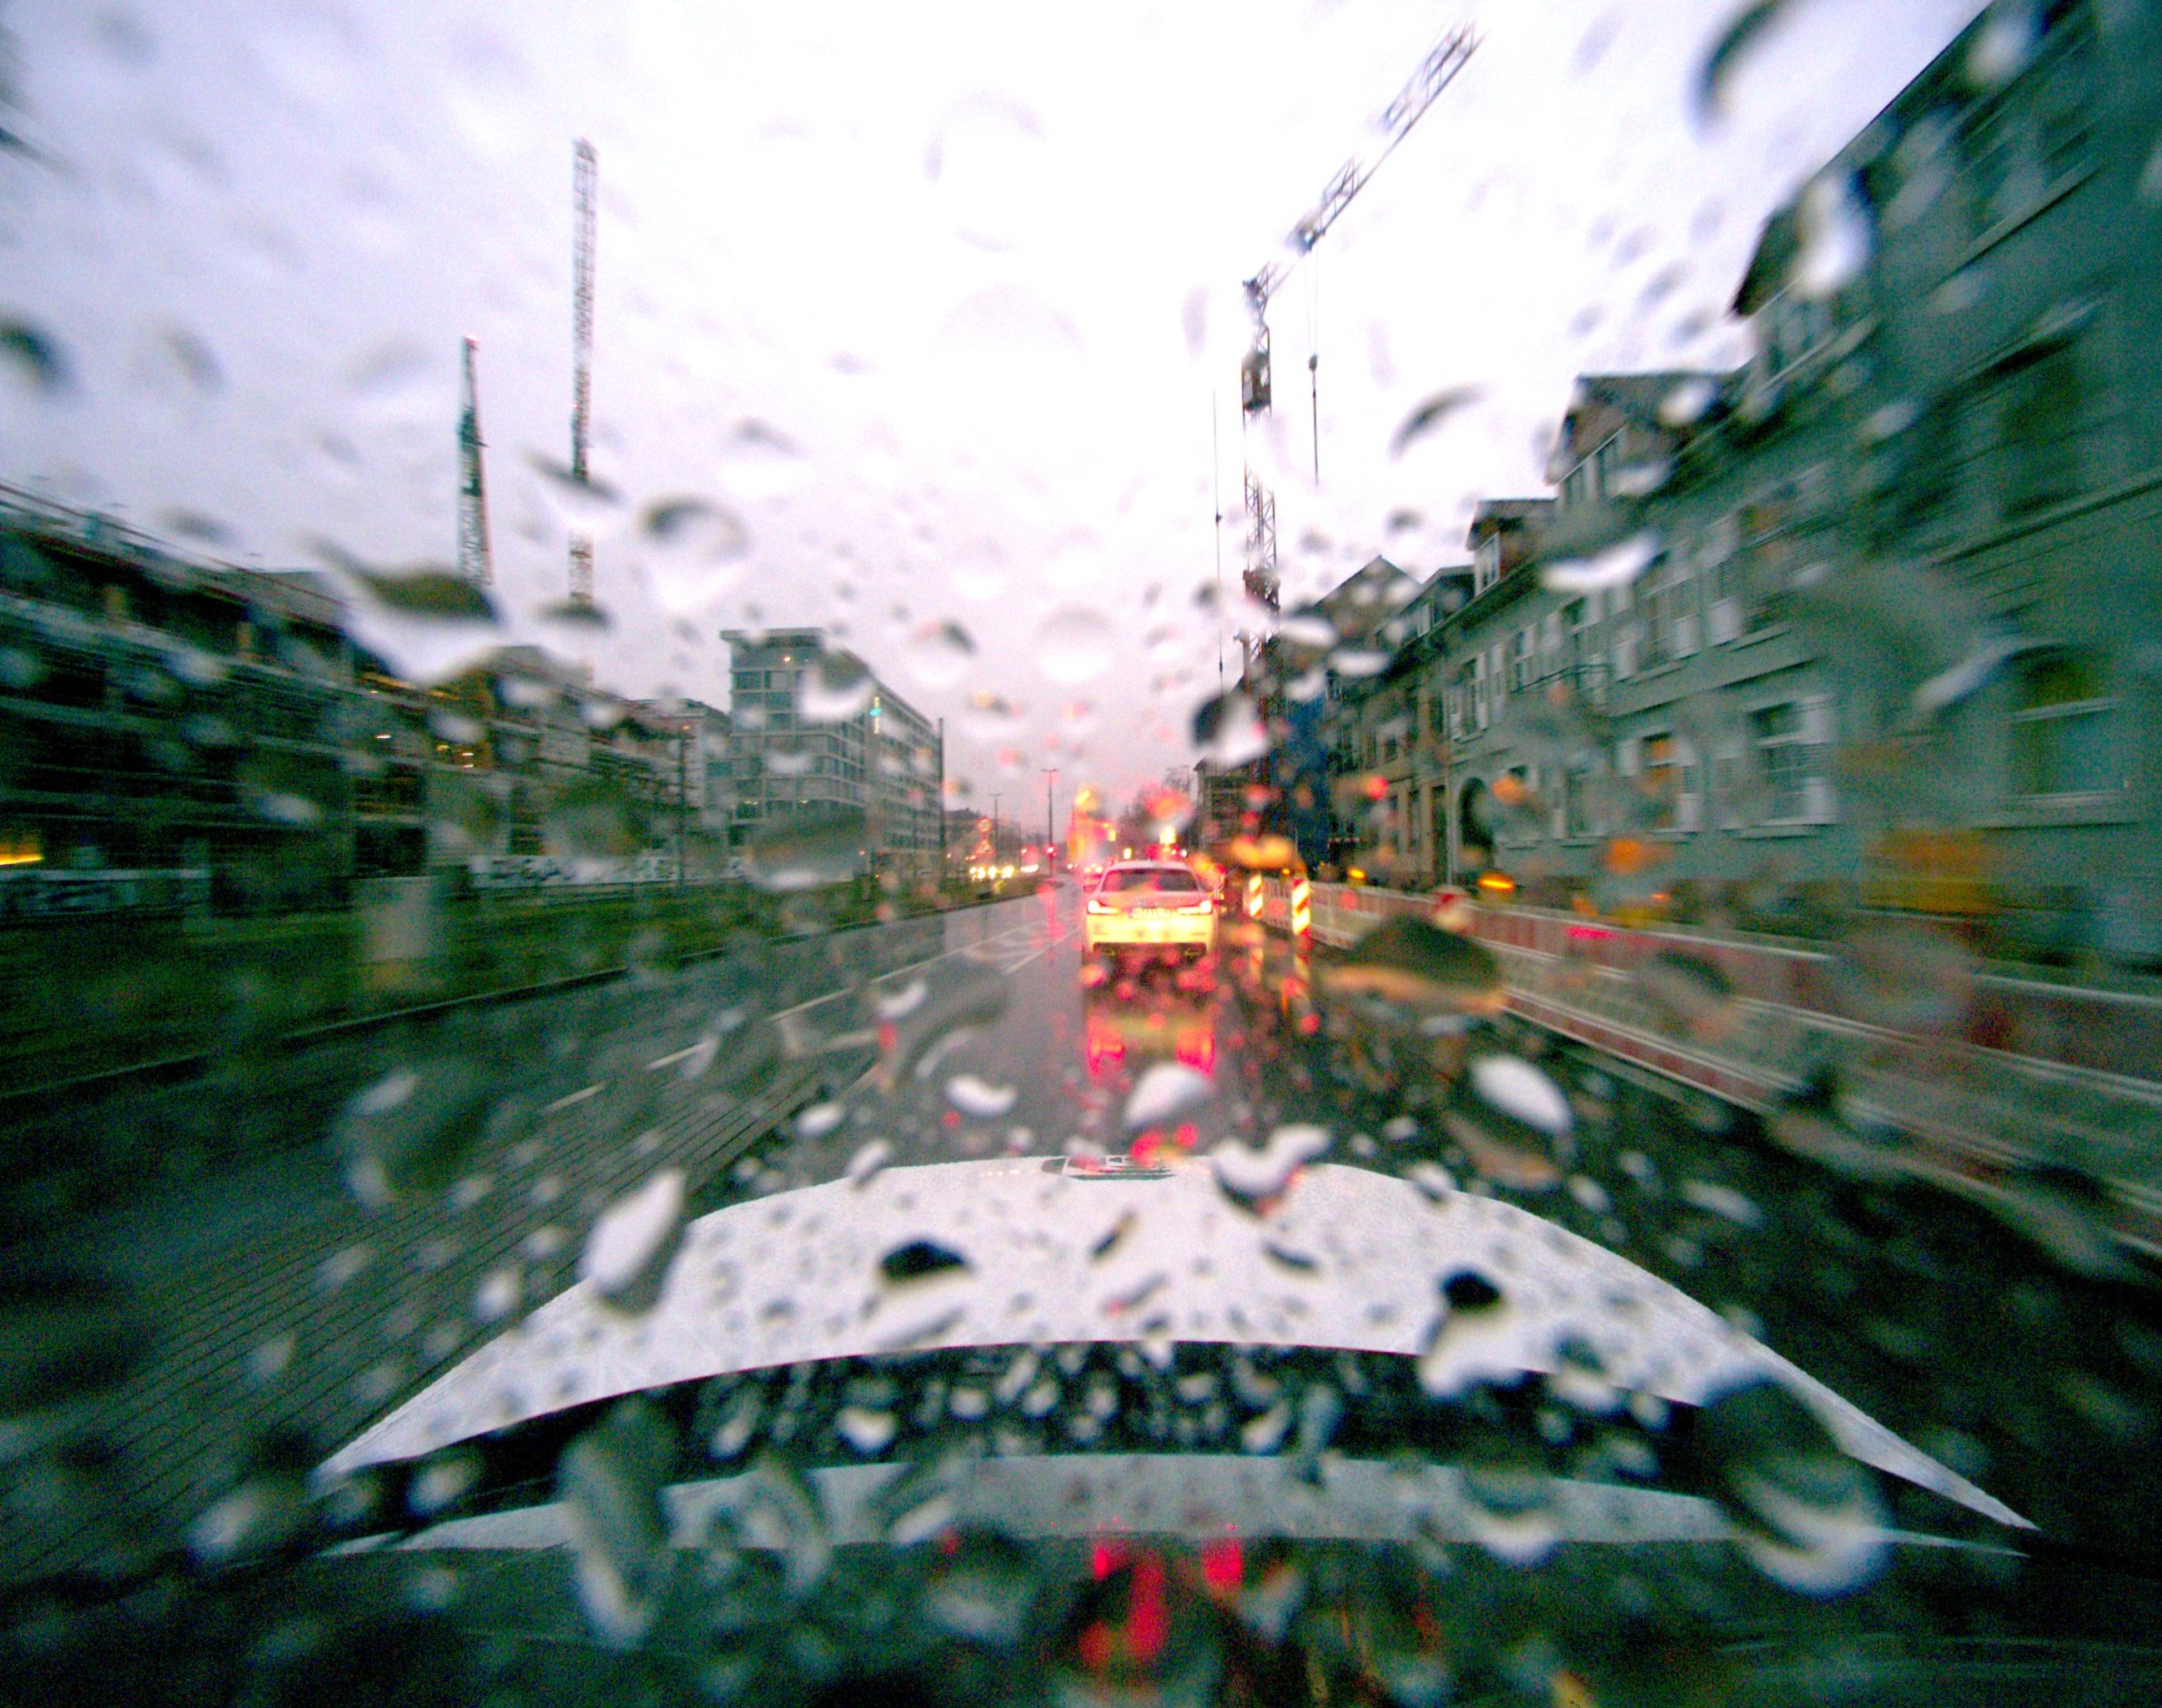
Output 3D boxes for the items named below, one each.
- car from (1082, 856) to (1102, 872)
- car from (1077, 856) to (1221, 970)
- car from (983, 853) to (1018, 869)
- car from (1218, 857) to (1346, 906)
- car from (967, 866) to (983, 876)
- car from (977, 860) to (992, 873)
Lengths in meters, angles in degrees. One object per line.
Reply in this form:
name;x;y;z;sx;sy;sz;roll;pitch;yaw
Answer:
car;1.123;1.001;82.732;1.894;1.642;4.002;0;0;2
car;0.924;0.771;12.947;1.845;1.465;4.947;0;0;1
car;-9.905;0.860;99.970;3.997;1.975;1.988;0;0;-17
car;6.686;0.856;26.992;4.111;1.518;1.887;0;0;-34
car;-16.332;2.563;125.707;1.732;1.492;3.546;0;0;3
car;-16.392;2.114;138.613;1.986;2.014;4.539;-1;0;2
